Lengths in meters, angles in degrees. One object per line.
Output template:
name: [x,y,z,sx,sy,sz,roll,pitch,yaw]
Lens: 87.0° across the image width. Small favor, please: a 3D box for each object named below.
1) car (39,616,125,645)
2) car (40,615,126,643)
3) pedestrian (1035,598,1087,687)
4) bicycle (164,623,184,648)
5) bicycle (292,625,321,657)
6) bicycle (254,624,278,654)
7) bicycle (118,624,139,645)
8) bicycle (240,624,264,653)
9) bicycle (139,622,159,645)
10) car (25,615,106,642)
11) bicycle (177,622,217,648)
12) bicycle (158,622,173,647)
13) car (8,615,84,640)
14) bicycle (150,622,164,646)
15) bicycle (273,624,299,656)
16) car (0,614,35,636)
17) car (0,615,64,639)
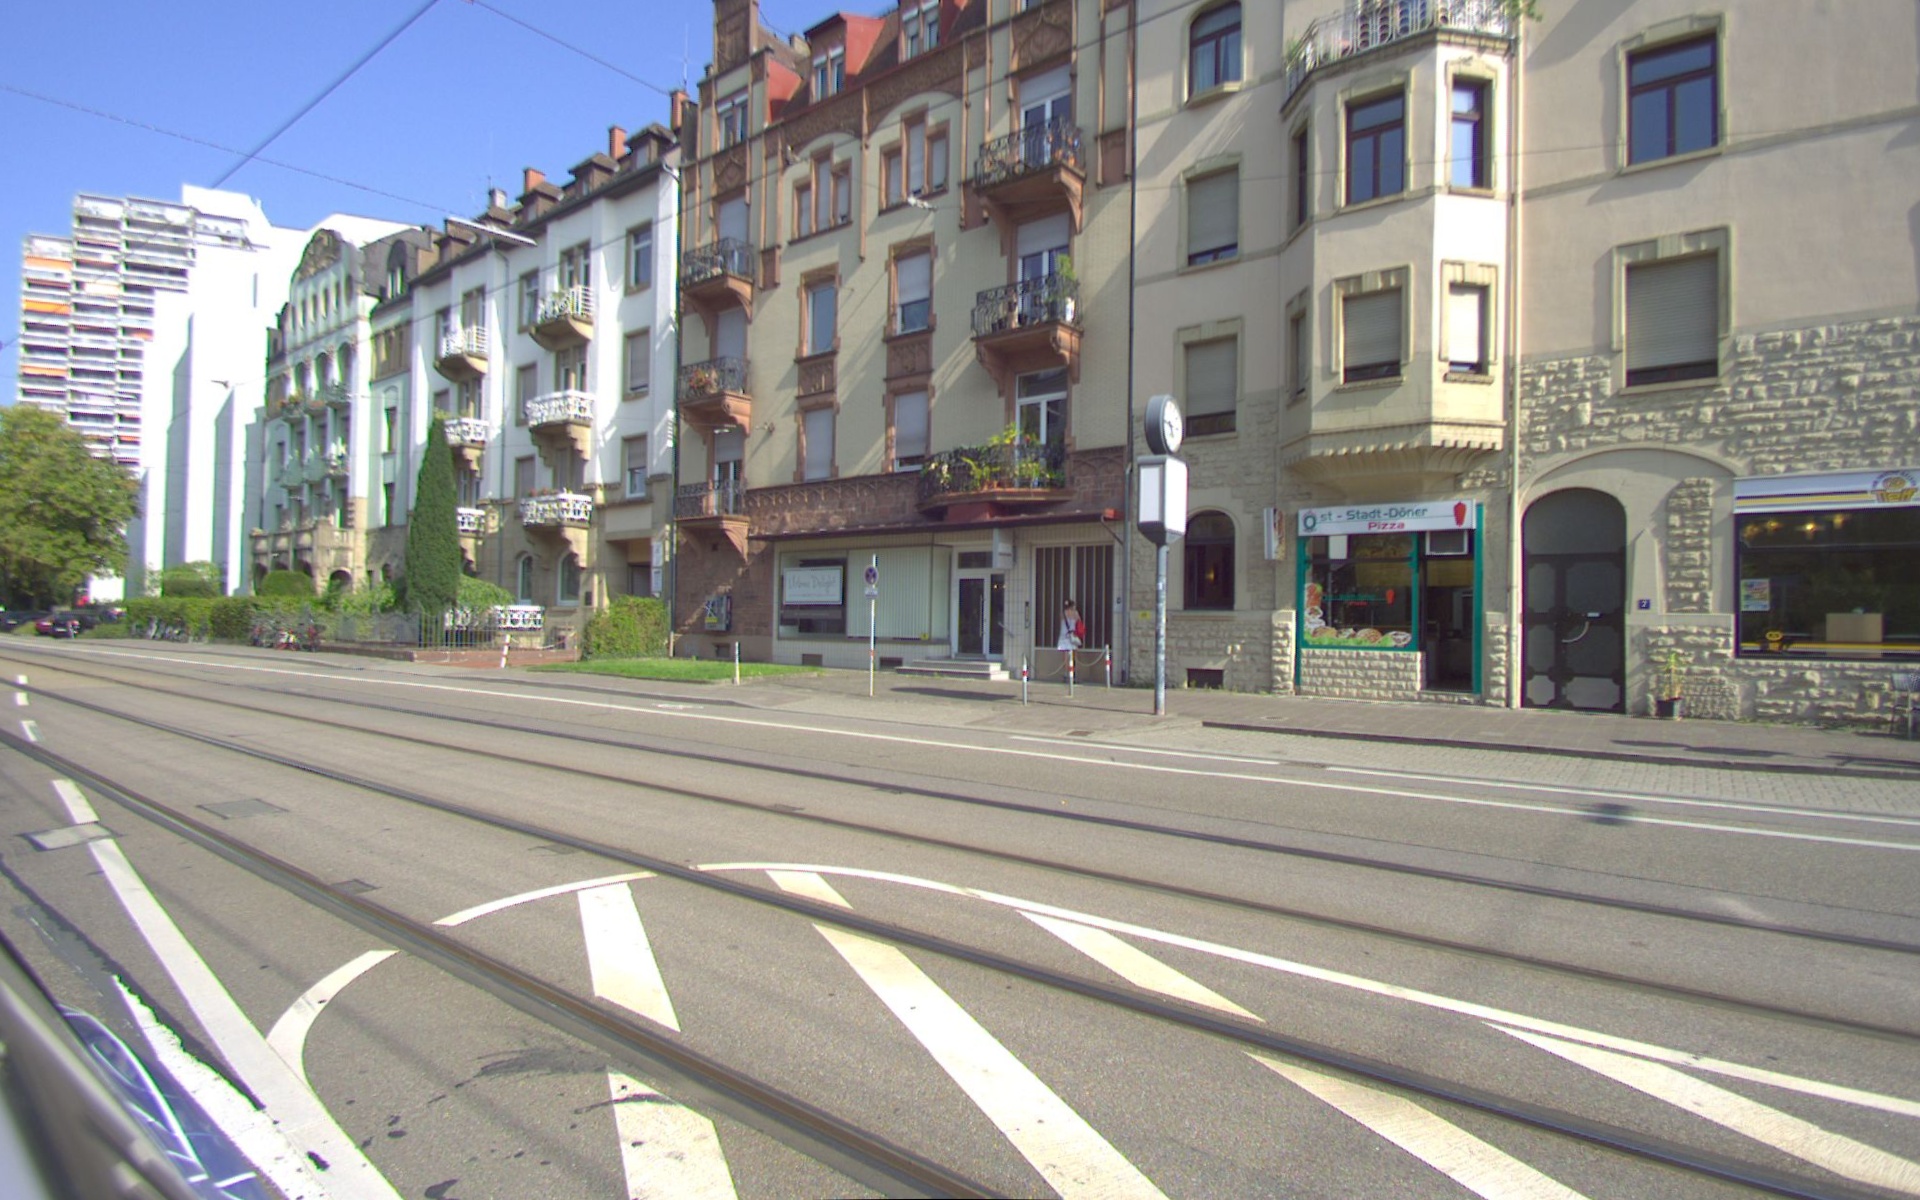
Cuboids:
car: [-48.468,1.688,55.960,1.744,1.539,4.008,1,-2,-10]
car: [-50.947,1.703,58.912,1.745,1.539,4.004,1,-2,-5]
pedestrian: [2.177,0.906,21.894,0.829,1.874,0.766,0,-2,37]
bicycle: [-35.199,1.582,45.317,1.677,1.096,0.420,-1,-3,44]
bicycle: [-22.586,1.414,34.988,1.486,1.096,0.366,-1,-3,39]
bicycle: [-26.021,1.443,37.943,1.353,1.096,0.366,-1,-3,39]
bicycle: [-41.541,1.718,50.580,1.768,0.985,0.420,-1,-2,39]
bicycle: [-27.351,1.469,39.111,1.353,1.096,0.366,-1,-3,39]
bicycle: [-38.904,1.598,48.548,1.676,1.096,0.420,-1,-3,42]
car: [-53.349,1.720,60.459,1.744,1.539,4.008,1,-2,-10]
bicycle: [-34.040,1.562,45.152,0.423,1.096,1.386,0,-2,21]
bicycle: [-36.717,1.589,46.770,0.419,1.096,1.678,3,-3,-41]
car: [-58.970,1.796,65.369,1.744,1.539,4.008,1,-2,-10]
bicycle: [-37.434,1.580,47.172,0.419,1.096,1.678,3,-3,-41]
bicycle: [-24.005,1.419,36.053,1.353,1.096,0.366,-1,-3,39]
car: [-68.473,1.809,72.215,1.744,1.539,4.008,1,-2,-10]
car: [-61.518,1.775,66.753,1.744,1.539,4.008,1,-2,-10]
